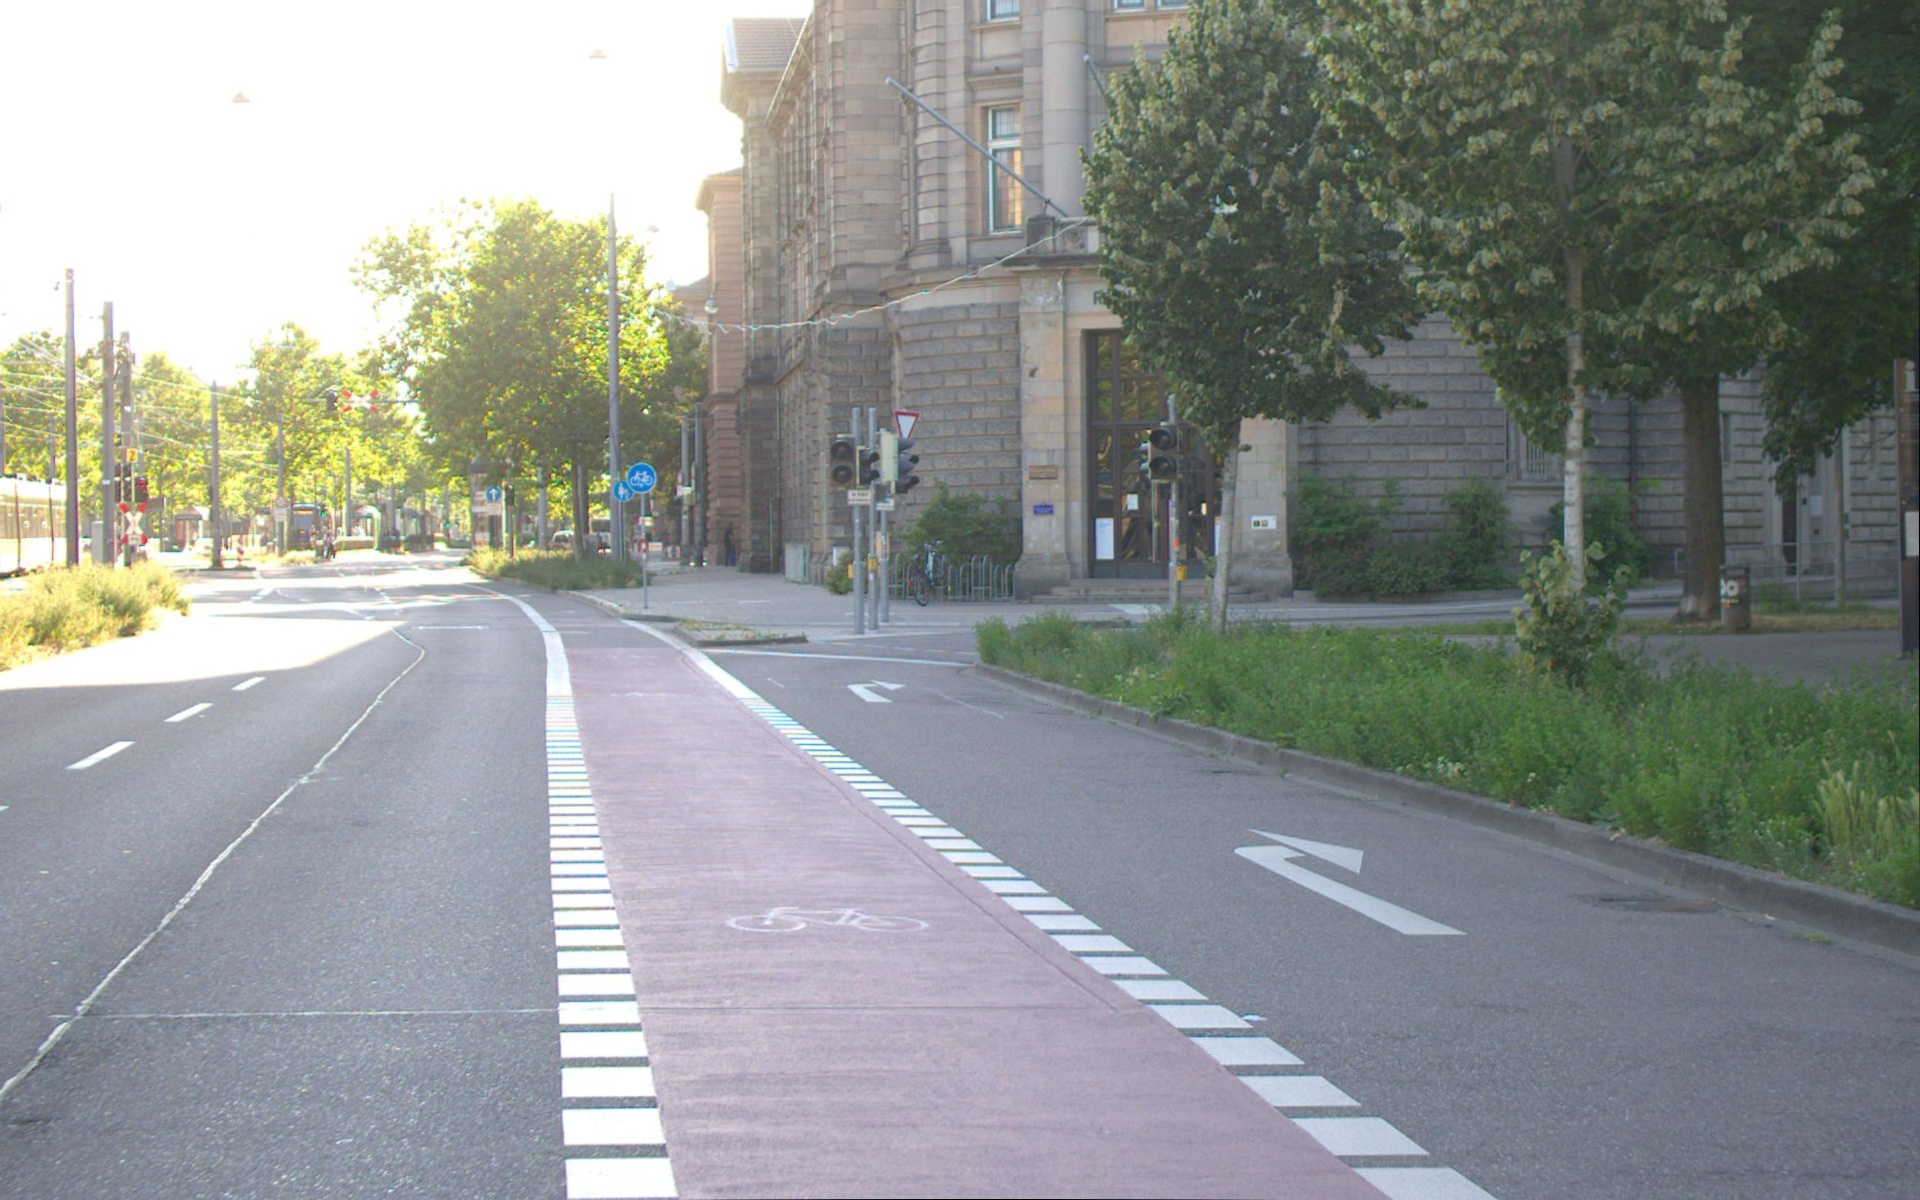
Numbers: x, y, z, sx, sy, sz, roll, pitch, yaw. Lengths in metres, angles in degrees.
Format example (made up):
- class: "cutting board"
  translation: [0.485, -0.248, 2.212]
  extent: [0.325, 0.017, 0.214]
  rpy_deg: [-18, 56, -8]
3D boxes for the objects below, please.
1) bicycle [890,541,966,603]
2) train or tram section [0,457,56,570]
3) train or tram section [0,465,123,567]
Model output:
- class: "bicycle"
  translation: [-0.628, -0.565, 68.584]
  extent: [0.867, 1.192, 2.238]
  rpy_deg: [0, 1, 17]
- class: "train or tram section"
  translation: [-32.087, -2.765, 111.096]
  extent: [3.111, 3.547, 17.482]
  rpy_deg: [-1, 1, -7]
- class: "train or tram section"
  translation: [-34.357, -3.103, 129.683]
  extent: [3.111, 3.547, 19.938]
  rpy_deg: [-1, 1, -7]
